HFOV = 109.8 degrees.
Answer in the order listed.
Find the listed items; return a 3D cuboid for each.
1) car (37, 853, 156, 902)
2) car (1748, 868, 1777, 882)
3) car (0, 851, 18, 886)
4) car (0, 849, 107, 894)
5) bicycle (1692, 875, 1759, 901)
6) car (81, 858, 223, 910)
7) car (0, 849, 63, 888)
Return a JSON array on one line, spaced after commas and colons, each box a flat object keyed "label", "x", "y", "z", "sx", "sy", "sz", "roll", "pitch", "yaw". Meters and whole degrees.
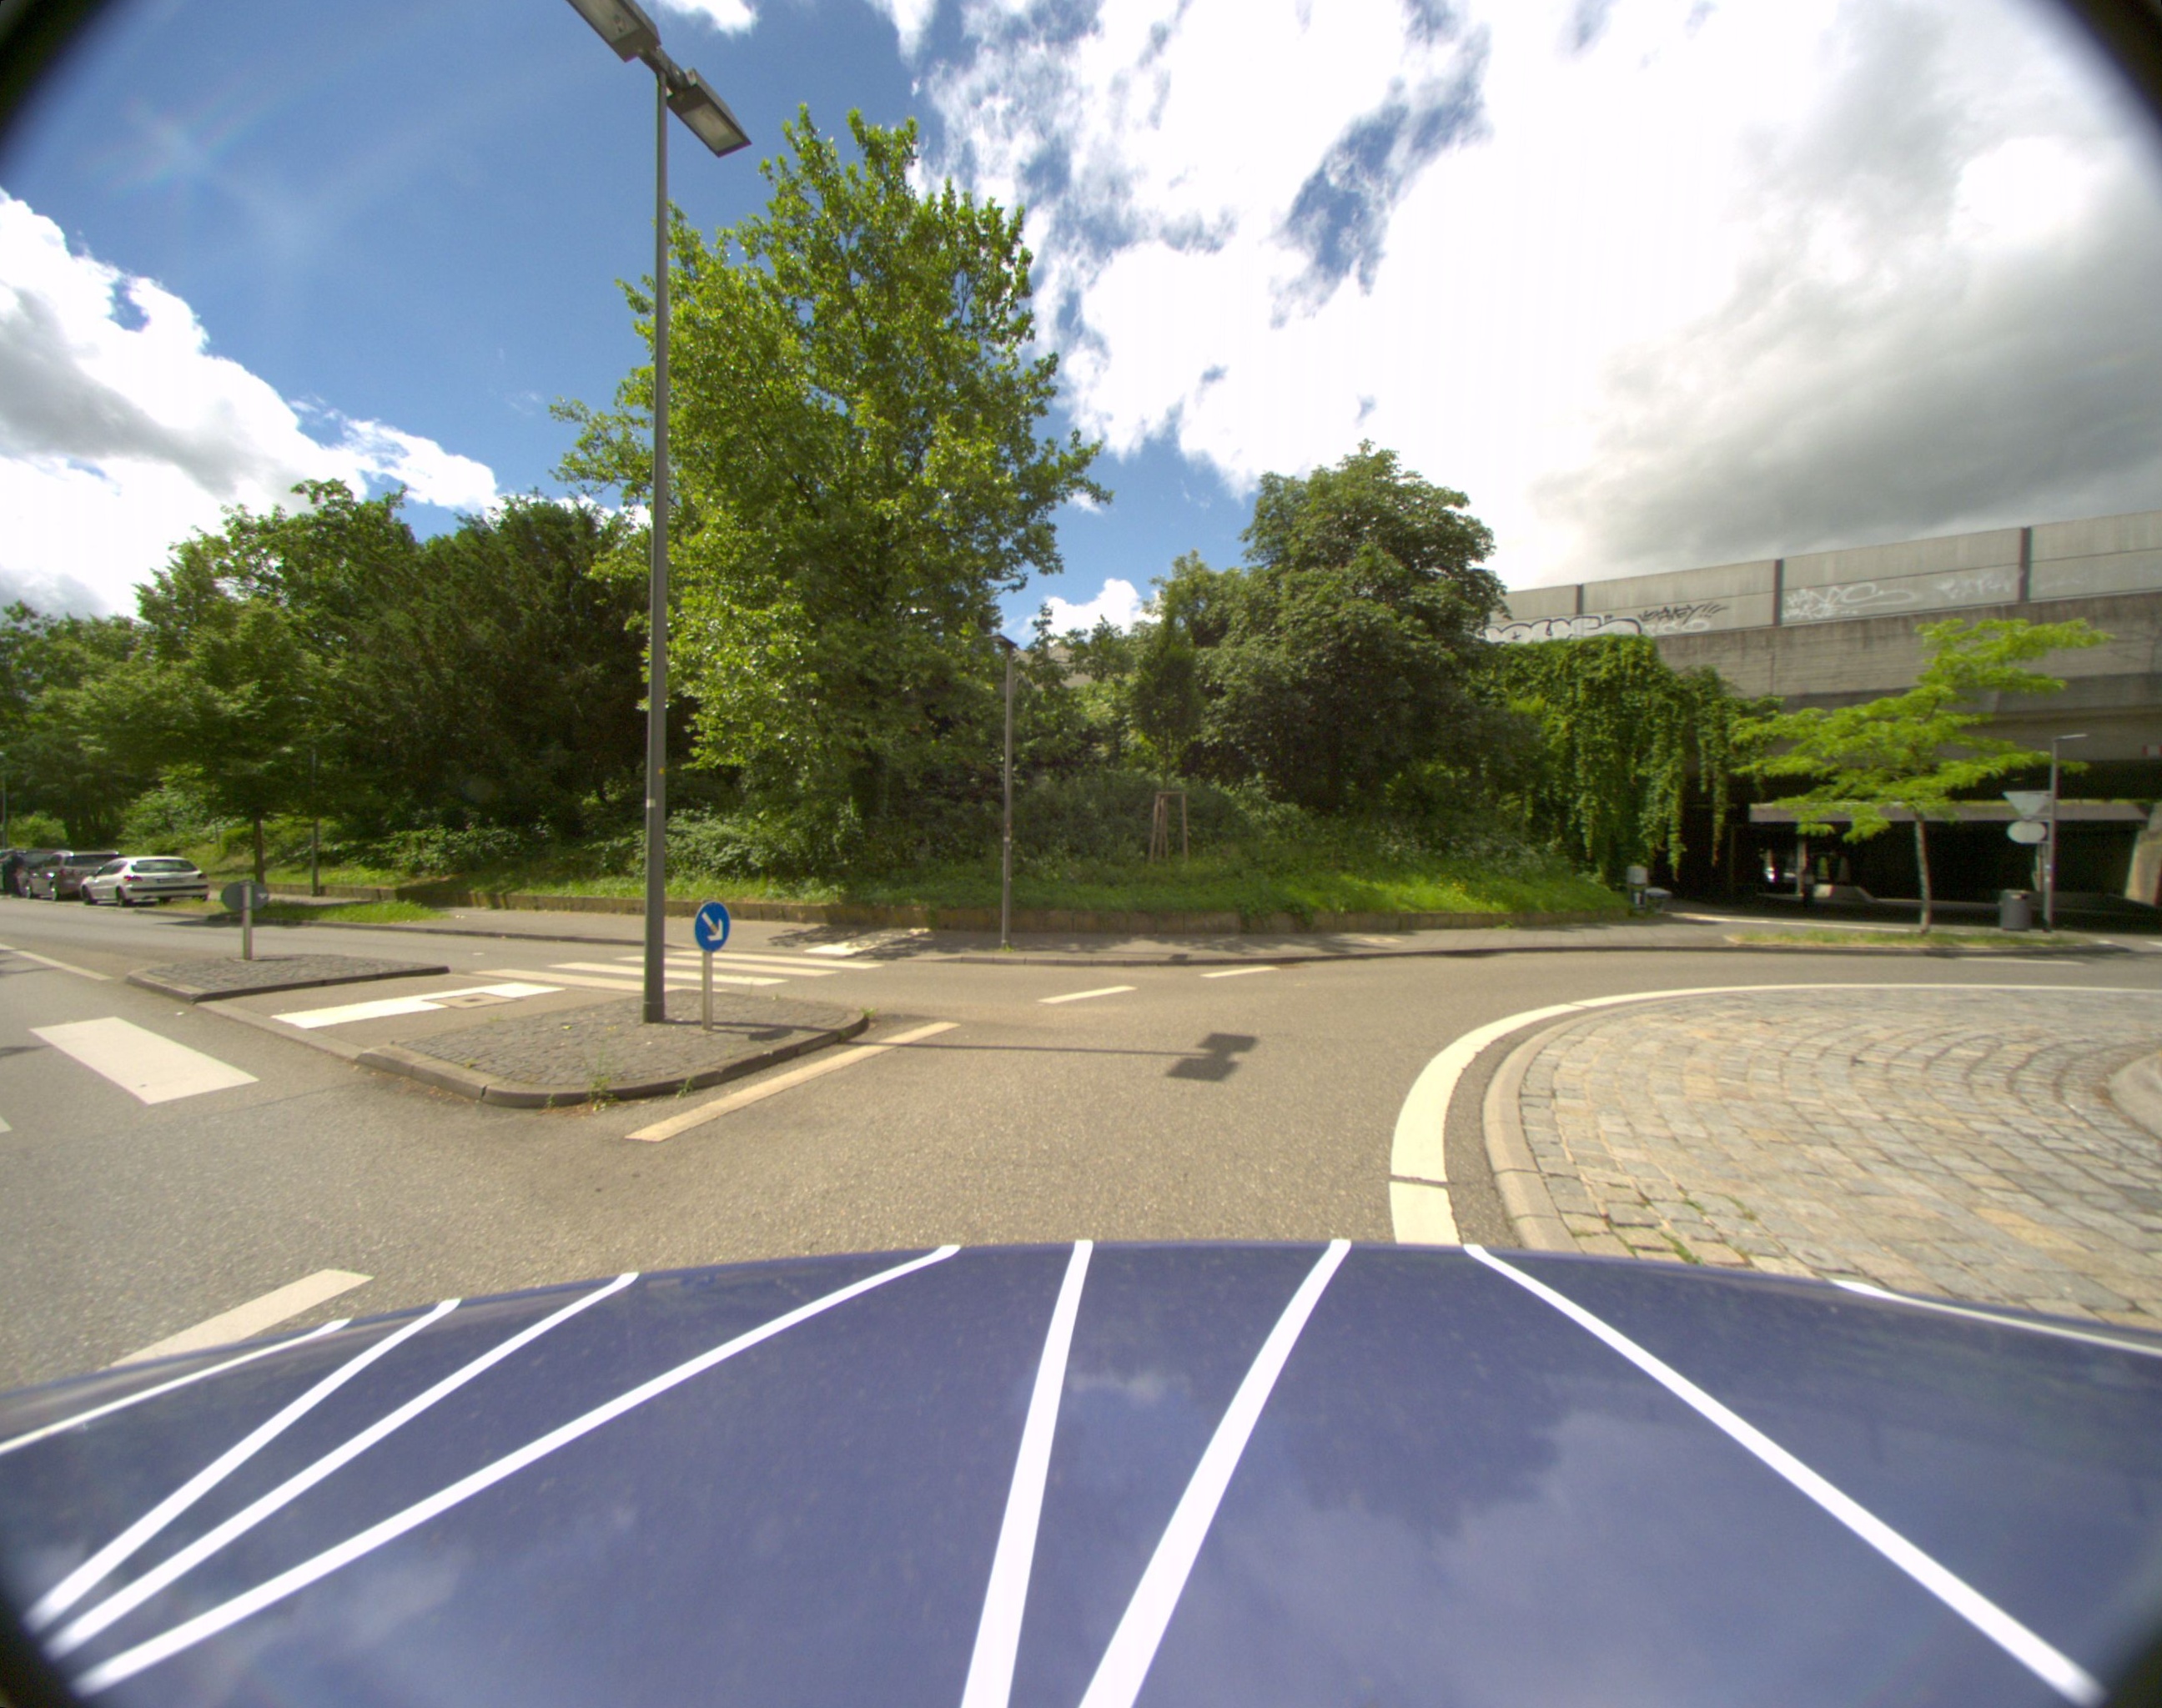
[{"label": "car", "x": -32.613, "y": 0.728, "z": 25.163, "sx": 3.989, "sy": 1.477, "sz": 1.939, "roll": 0, "pitch": 0, "yaw": 31}, {"label": "car", "x": 76.509, "y": 2.379, "z": 85.365, "sx": 1.672, "sy": 1.439, "sz": 3.860, "roll": 2, "pitch": 1, "yaw": 30}, {"label": "car", "x": -48.321, "y": 0.614, "z": 33.144, "sx": 3.989, "sy": 1.477, "sz": 1.939, "roll": 0, "pitch": 0, "yaw": 31}, {"label": "car", "x": -36.752, "y": 0.601, "z": 27.128, "sx": 3.989, "sy": 1.477, "sz": 1.939, "roll": 1, "pitch": 0, "yaw": 31}, {"label": "bicycle", "x": 25.848, "y": 1.351, "z": 30.511, "sx": 1.946, "sy": 0.899, "sz": 0.508, "roll": 2, "pitch": 2, "yaw": 30}, {"label": "car", "x": -27.840, "y": 0.847, "z": 22.759, "sx": 3.989, "sy": 1.323, "sz": 1.760, "roll": 0, "pitch": 3, "yaw": 26}, {"label": "car", "x": -41.931, "y": 0.549, "z": 29.818, "sx": 3.989, "sy": 1.477, "sz": 1.939, "roll": 0, "pitch": 0, "yaw": 31}]
